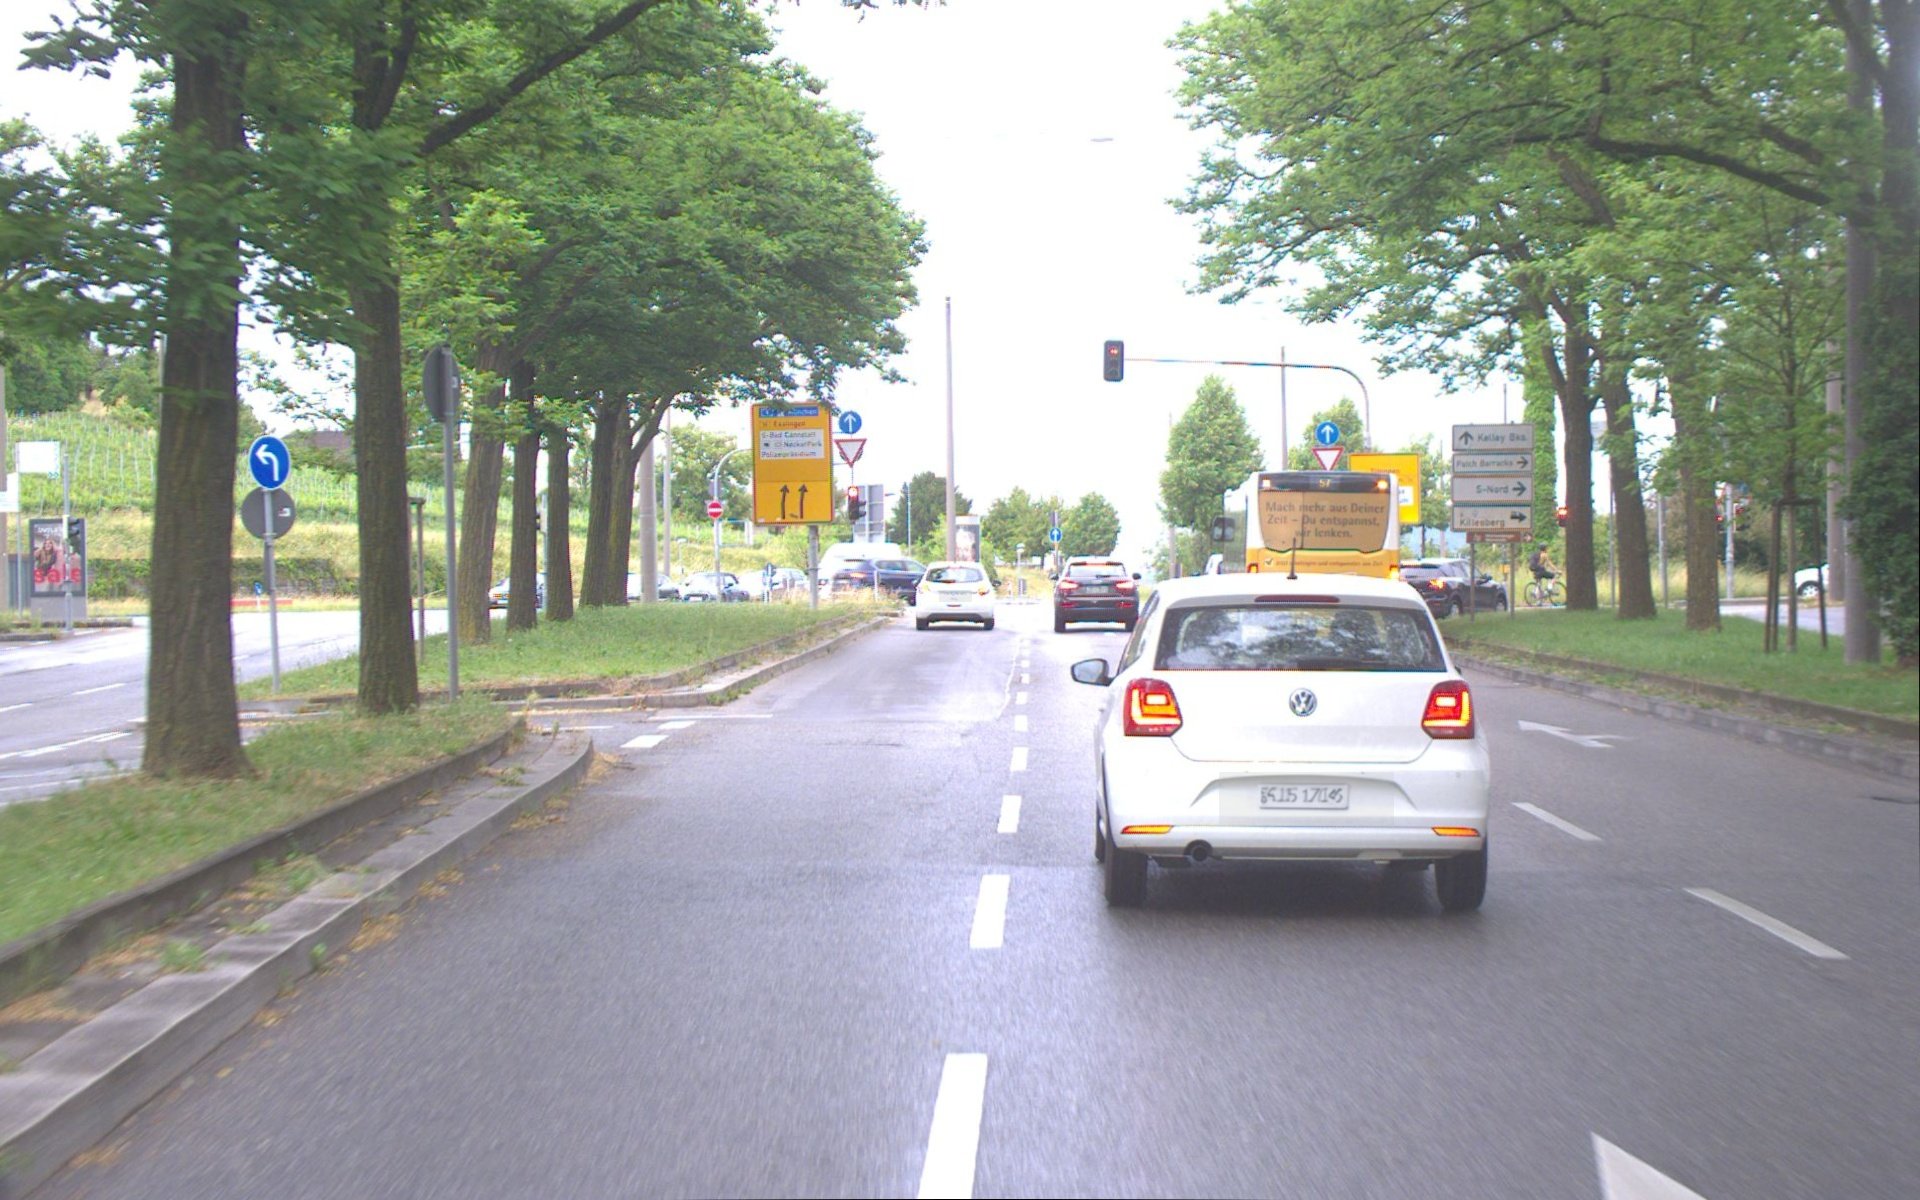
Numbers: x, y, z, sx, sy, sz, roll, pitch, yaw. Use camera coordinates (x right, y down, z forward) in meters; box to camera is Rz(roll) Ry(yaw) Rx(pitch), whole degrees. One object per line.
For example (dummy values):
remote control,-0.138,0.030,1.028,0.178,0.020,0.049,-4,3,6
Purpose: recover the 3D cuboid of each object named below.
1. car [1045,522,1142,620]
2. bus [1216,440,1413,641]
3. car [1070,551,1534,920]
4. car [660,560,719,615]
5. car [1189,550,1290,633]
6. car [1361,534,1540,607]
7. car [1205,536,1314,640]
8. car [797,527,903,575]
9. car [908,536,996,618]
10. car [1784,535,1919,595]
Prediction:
car,2.861,-0.641,73.588,1.994,2.007,4.000,0,1,2
bus,6.146,-1.051,60.988,2.828,3.255,10.000,0,1,2
car,1.472,0.539,16.153,1.794,1.497,4.000,1,0,0
car,-10.219,-0.457,130.100,1.993,2.007,4.000,0,-1,-1
car,6.048,-0.171,74.668,1.994,1.711,4.000,-1,0,2
car,10.439,-0.628,73.058,3.817,1.510,1.699,-1,1,-42
car,6.033,-0.223,69.638,1.994,2.007,4.000,-1,0,2
car,-4.881,-2.219,153.535,1.997,2.007,5.701,-1,1,30
car,-0.149,-0.537,75.506,1.794,1.735,4.000,0,1,1
car,24.702,-0.968,93.812,3.992,1.531,1.998,-1,1,23
